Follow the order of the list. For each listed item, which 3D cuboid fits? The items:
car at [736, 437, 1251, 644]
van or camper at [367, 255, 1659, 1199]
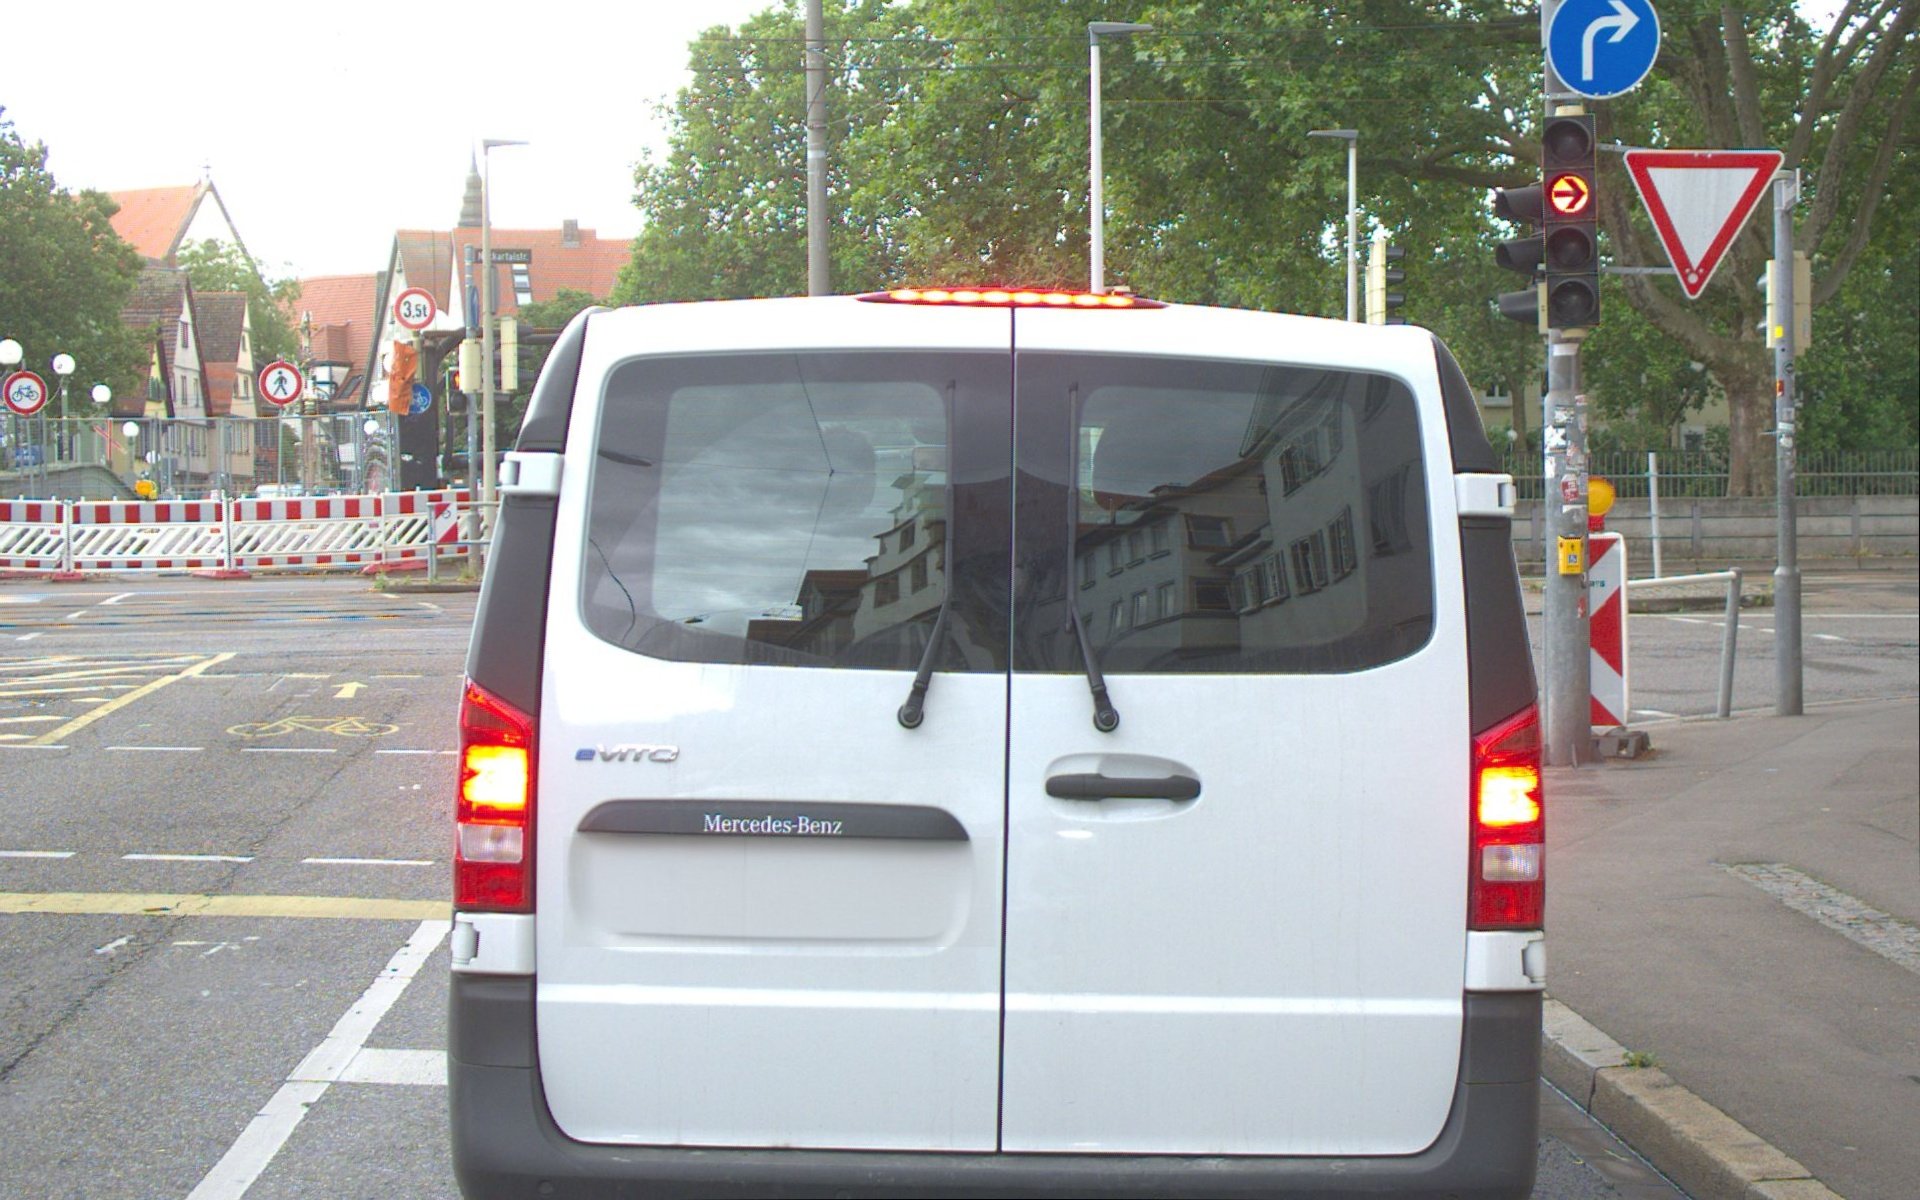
[{"bbox_3d":[0.246,-0.517,28.246,4.069,1.568,1.829,-1,3,-2],"label":"car"},{"bbox_3d":[-0.058,0.346,7.429,1.937,1.918,4.442,1,3,-4],"label":"van or camper"}]
